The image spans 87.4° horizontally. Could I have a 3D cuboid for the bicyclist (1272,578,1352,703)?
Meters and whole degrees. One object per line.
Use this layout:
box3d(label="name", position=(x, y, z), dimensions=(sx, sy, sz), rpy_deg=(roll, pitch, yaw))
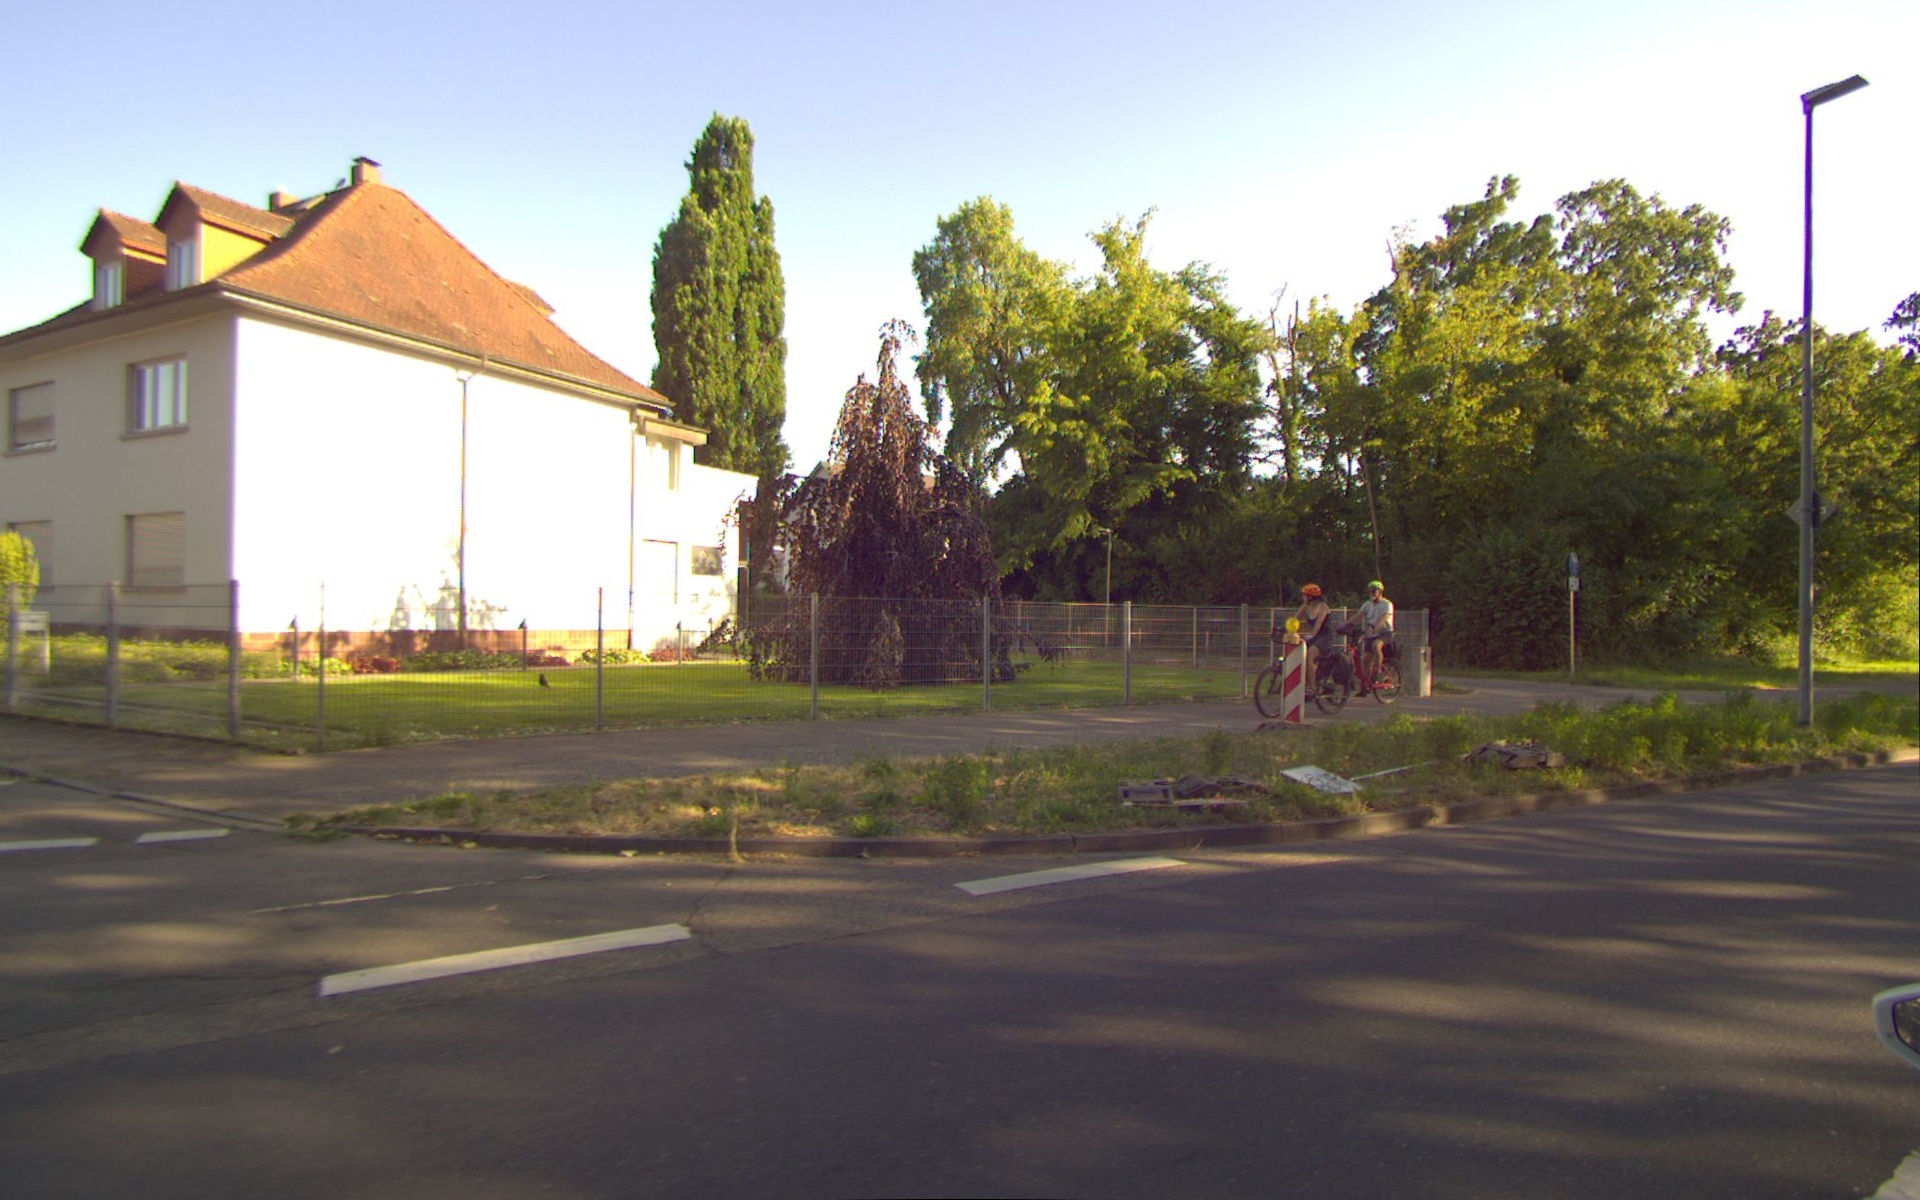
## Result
box3d(label="bicyclist", position=(4.965, 0.555, 14.175), dimensions=(0.959, 1.702, 0.576), rpy_deg=(1, -1, -31))

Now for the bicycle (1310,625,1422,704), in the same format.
box3d(label="bicycle", position=(6.553, 1.019, 16.161), dimensions=(2.009, 1.202, 0.576), rpy_deg=(1, 0, -31))

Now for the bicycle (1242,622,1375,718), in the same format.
box3d(label="bicycle", position=(4.933, 0.955, 14.157), dimensions=(2.083, 1.262, 0.576), rpy_deg=(1, -1, -31))

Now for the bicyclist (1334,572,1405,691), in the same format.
box3d(label="bicyclist", position=(6.596, 0.495, 16.173), dimensions=(0.957, 1.856, 0.576), rpy_deg=(1, 0, -31))
